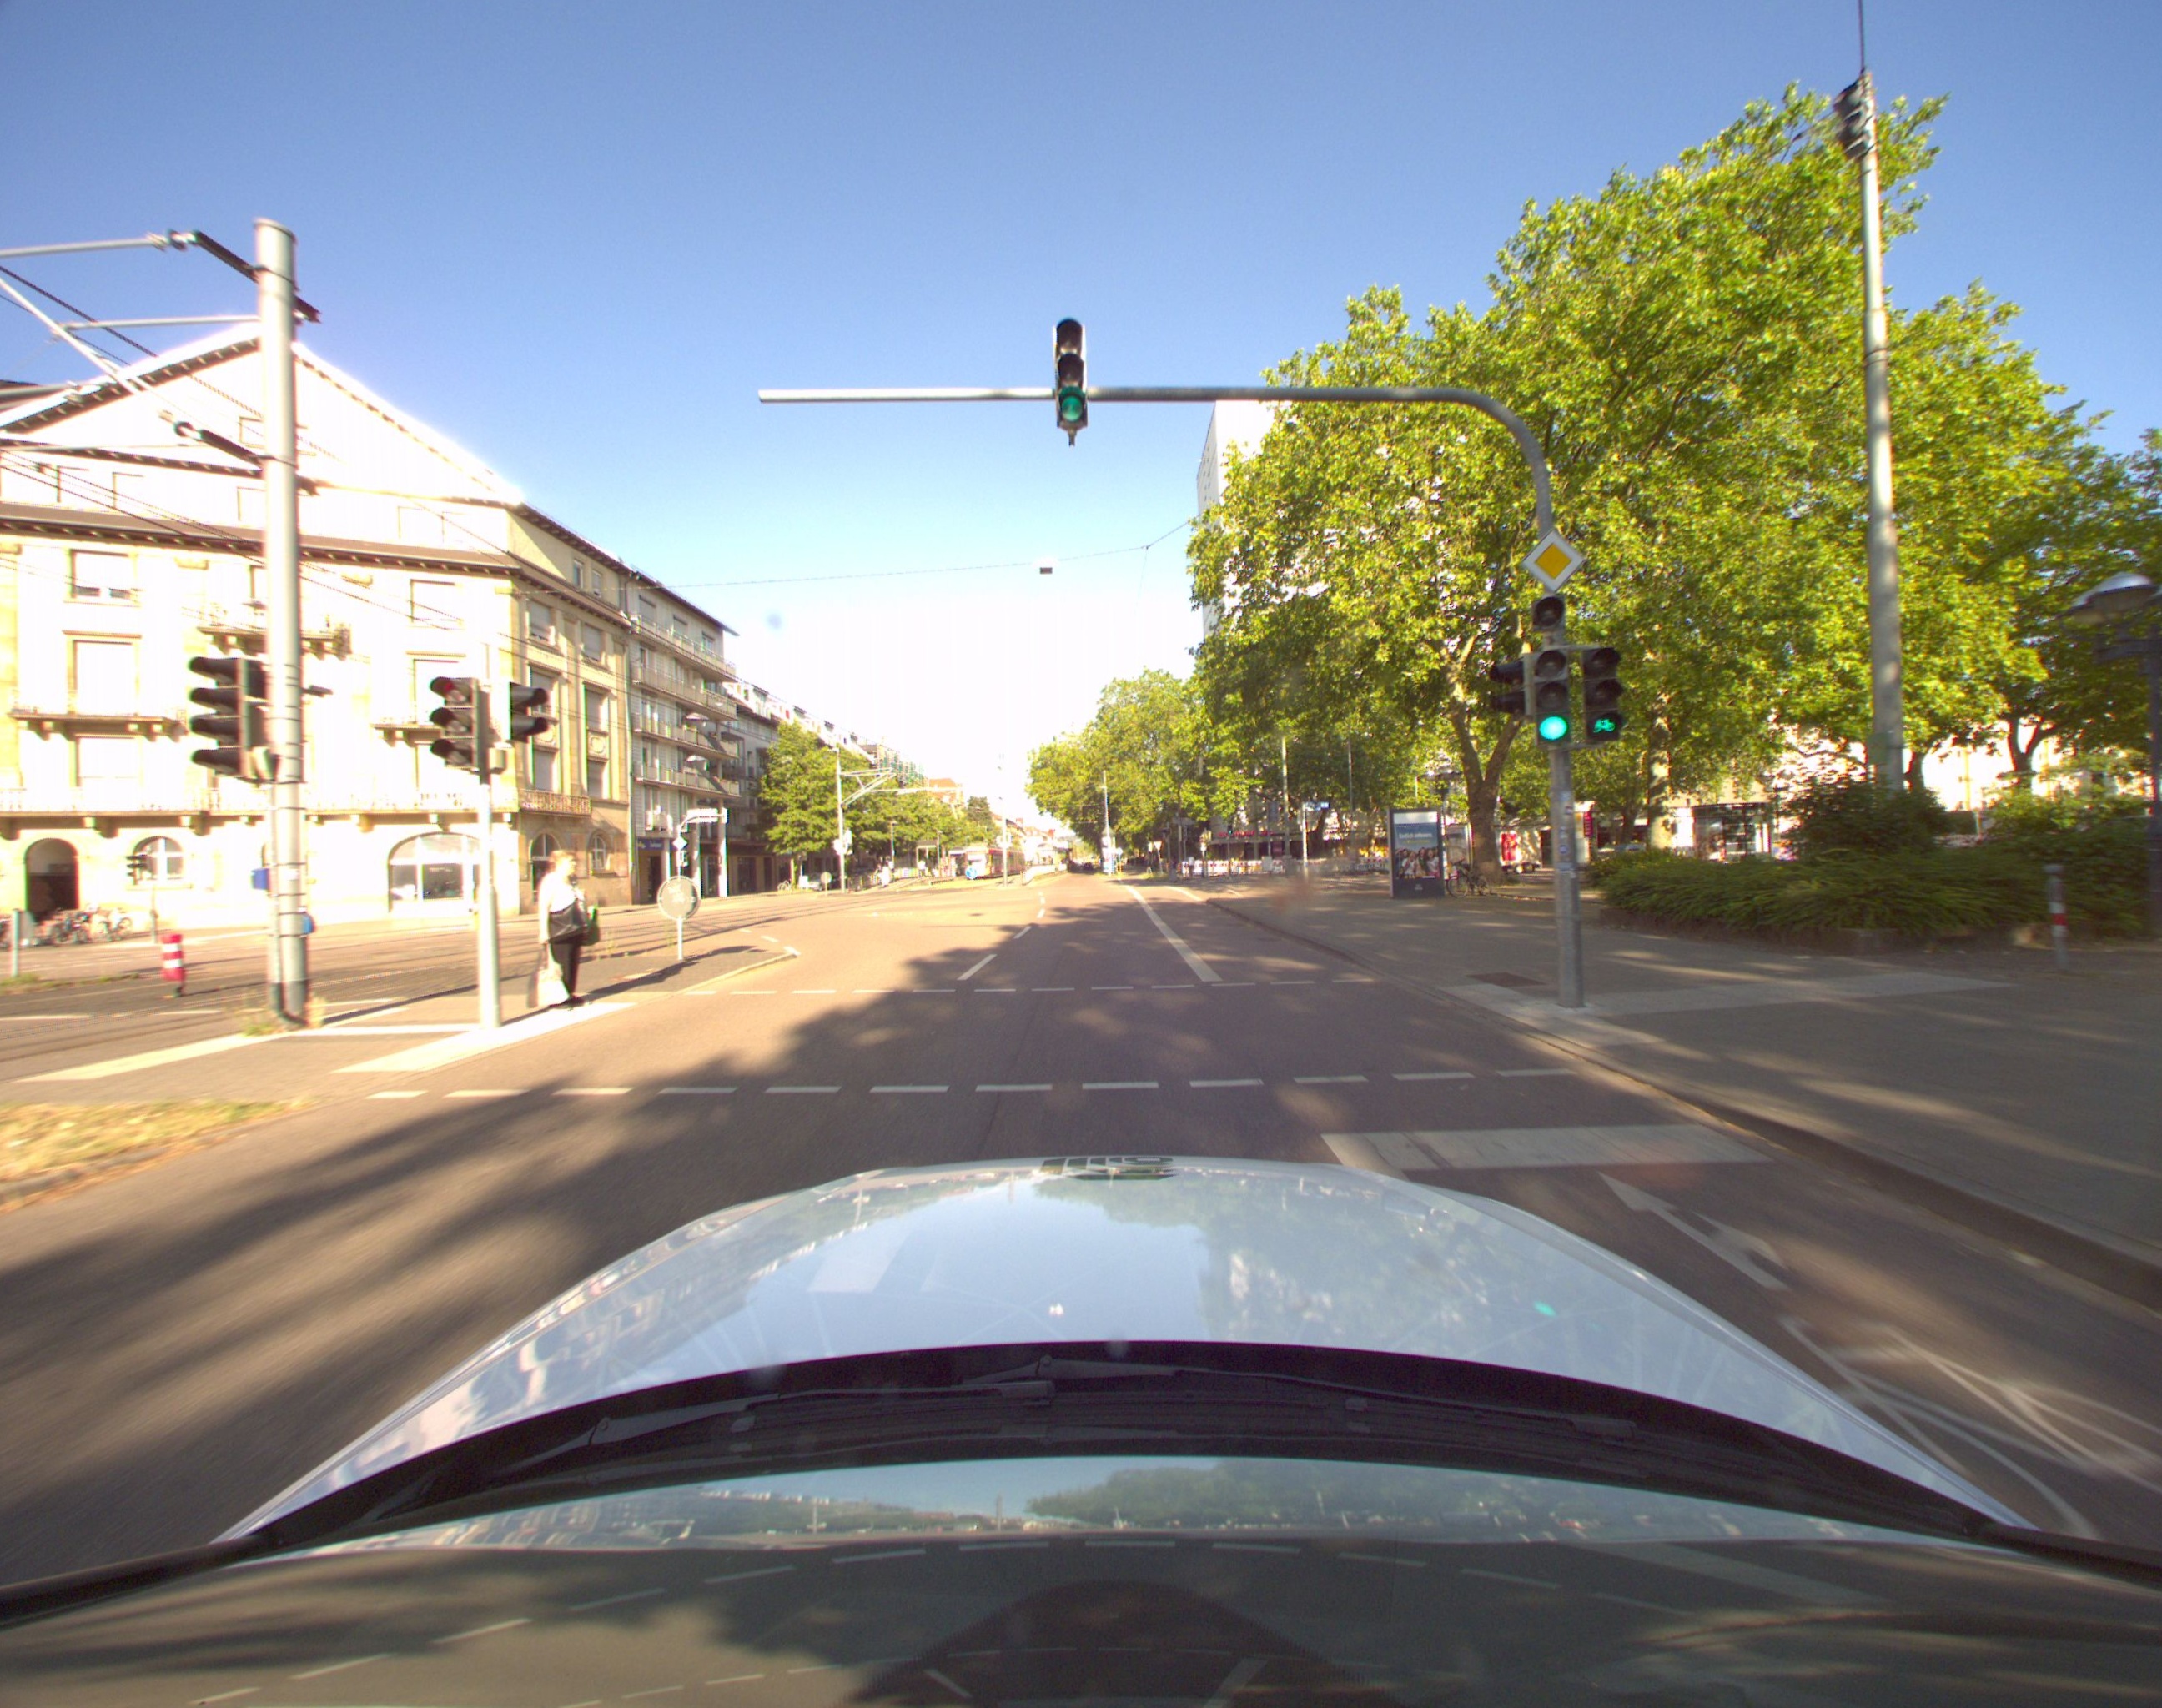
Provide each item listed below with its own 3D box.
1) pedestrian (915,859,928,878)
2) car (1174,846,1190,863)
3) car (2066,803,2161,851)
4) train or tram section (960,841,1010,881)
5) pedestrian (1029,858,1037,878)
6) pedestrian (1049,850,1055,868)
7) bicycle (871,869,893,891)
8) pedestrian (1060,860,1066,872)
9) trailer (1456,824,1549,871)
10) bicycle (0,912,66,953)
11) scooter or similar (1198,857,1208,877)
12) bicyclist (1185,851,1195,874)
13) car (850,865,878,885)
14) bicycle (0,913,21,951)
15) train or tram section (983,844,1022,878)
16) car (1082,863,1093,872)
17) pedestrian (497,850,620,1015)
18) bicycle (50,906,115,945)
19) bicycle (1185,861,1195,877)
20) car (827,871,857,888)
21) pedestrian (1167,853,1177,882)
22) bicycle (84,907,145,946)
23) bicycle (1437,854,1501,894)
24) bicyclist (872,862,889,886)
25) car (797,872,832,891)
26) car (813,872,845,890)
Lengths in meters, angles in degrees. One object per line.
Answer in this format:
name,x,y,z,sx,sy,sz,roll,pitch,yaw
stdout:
pedestrian,-13.418,1.252,68.564,0.897,1.581,0.958,0,-1,-1
car,15.245,0.094,123.045,1.985,2.499,6.352,0,-1,3
car,46.025,-1.209,35.313,4.323,1.870,1.763,-4,-1,1
train or tram section,-9.701,0.731,83.933,2.859,3.675,14.564,-2,-1,1
pedestrian,-4.041,1.180,68.257,0.627,1.610,0.982,0,-1,-1
pedestrian,-3.148,0.540,88.252,0.667,1.902,0.824,0,-1,0
bicycle,-13.292,1.719,54.400,0.529,1.052,1.834,-1,13,13
pedestrian,-2.392,1.579,108.493,0.676,1.562,0.851,0,-1,1
trailer,22.701,-0.362,43.860,4.518,2.373,1.900,-2,0,-21
bicycle,-34.763,2.584,26.969,0.554,1.191,2.109,0,-1,-25
scooter or similar,7.913,0.843,52.631,0.557,1.257,1.293,-3,-1,9
bicyclist,7.470,0.593,55.973,0.600,1.551,0.861,-2,-1,5
car,-23.637,2.267,88.917,1.933,2.166,3.785,0,-1,1
bicycle,-35.393,2.569,26.266,0.529,1.191,2.109,0,-1,-25
train or tram section,-9.303,0.874,98.483,2.859,3.685,14.564,-2,-1,1
car,1.286,2.439,150.478,1.986,1.684,4.001,0,-1,1
pedestrian,-5.410,0.779,8.487,0.675,1.621,0.925,0,-1,-1
bicycle,-34.318,2.432,28.022,0.529,1.191,2.109,0,-1,-25
bicycle,7.493,1.039,55.998,0.600,1.026,1.769,-2,-1,5
car,-23.836,2.510,81.262,1.800,1.636,3.785,0,-1,1
pedestrian,5.301,0.765,47.223,0.427,1.639,0.612,-1,-1,-7
bicycle,-33.766,2.501,28.478,0.529,1.191,2.109,0,-1,-25
bicycle,10.598,0.534,22.253,1.828,1.053,0.530,-1,0,-26
bicyclist,-13.352,1.315,54.163,0.529,1.370,1.024,-1,13,13
car,-23.918,2.472,73.166,1.800,1.578,3.785,0,-1,1
car,-23.872,2.549,77.344,1.800,1.677,3.785,0,-1,1
